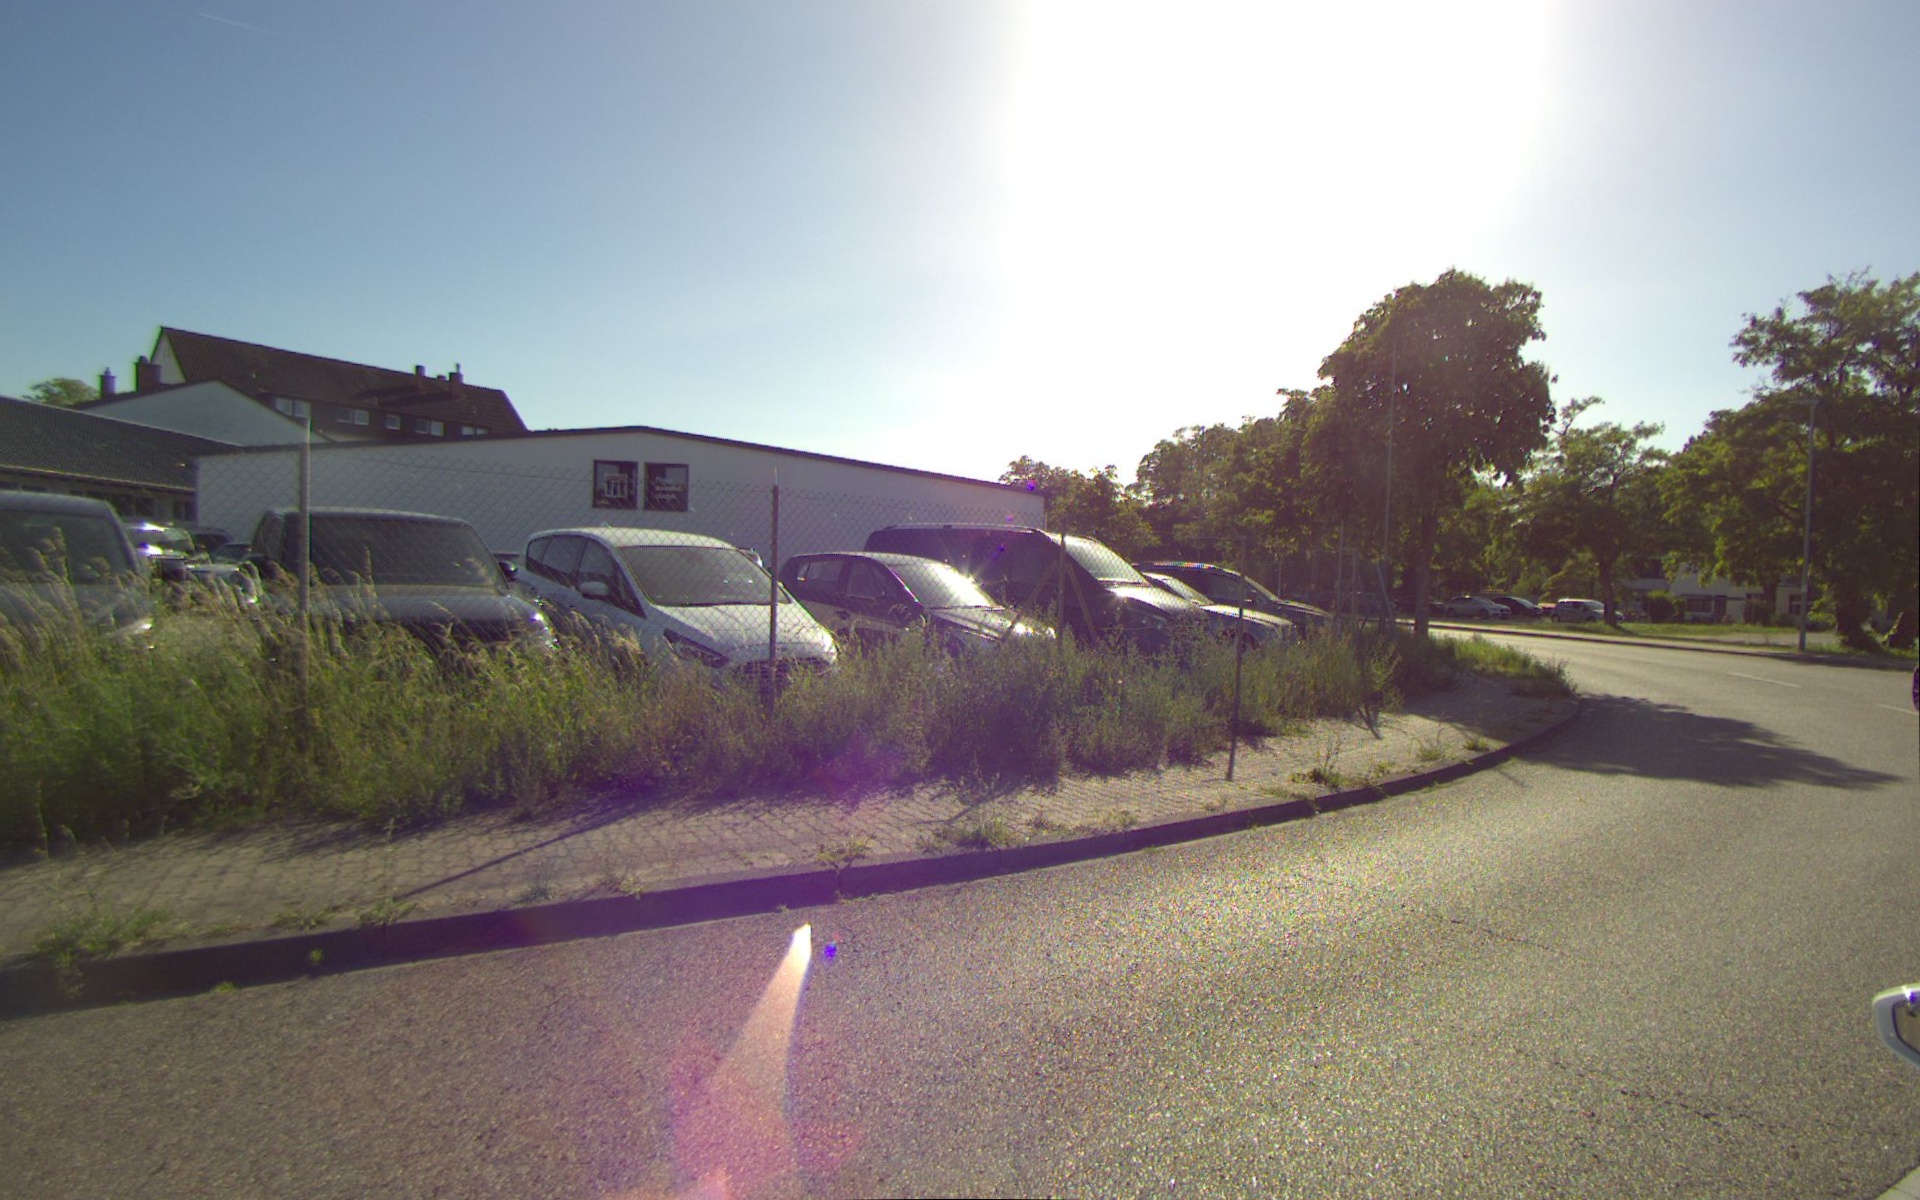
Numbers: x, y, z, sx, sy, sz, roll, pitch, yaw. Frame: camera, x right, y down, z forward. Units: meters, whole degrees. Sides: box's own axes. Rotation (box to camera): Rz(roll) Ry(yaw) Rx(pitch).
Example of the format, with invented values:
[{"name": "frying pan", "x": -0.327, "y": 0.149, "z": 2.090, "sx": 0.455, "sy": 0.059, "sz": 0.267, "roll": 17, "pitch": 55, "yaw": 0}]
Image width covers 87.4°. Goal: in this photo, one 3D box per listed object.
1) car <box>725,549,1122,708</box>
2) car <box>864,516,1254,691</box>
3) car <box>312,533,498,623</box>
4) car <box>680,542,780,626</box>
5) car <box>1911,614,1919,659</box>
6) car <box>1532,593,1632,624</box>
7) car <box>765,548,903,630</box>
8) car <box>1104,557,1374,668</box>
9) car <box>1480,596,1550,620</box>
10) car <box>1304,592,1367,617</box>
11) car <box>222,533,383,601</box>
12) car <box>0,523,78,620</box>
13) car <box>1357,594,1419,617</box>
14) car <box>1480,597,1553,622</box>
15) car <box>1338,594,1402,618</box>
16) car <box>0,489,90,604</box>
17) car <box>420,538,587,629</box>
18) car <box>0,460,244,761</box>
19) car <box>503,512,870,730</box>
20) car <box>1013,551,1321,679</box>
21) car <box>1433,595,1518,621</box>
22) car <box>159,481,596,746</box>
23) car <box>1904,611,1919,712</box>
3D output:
[{"name": "car", "x": -0.524, "y": 0.214, "z": 11.576, "sx": 4.331, "sy": 1.456, "sz": 1.834, "roll": 3, "pitch": 2, "yaw": 35}, {"name": "car", "x": 1.164, "y": -0.060, "z": 13.173, "sx": 4.772, "sy": 1.918, "sz": 1.834, "roll": 3, "pitch": 2, "yaw": 36}, {"name": "car", "x": -11.710, "y": -0.483, "z": 21.560, "sx": 1.805, "sy": 1.671, "sz": 4.400, "roll": 2, "pitch": 1, "yaw": -5}, {"name": "car", "x": -5.309, "y": -0.386, "z": 22.778, "sx": 1.811, "sy": 1.671, "sz": 4.386, "roll": 2, "pitch": 1, "yaw": -18}, {"name": "car", "x": 32.811, "y": 1.293, "z": 30.810, "sx": 1.969, "sy": 1.445, "sz": 4.905, "roll": 2, "pitch": 1, "yaw": -18}, {"name": "car", "x": 34.136, "y": 0.432, "z": 55.325, "sx": 1.963, "sy": 1.504, "sz": 4.919, "roll": 2, "pitch": 1, "yaw": -8}, {"name": "car", "x": -3.026, "y": -0.297, "z": 23.239, "sx": 1.816, "sy": 1.671, "sz": 4.373, "roll": 1, "pitch": 2, "yaw": -26}, {"name": "car", "x": 4.888, "y": 0.173, "z": 17.795, "sx": 4.316, "sy": 1.671, "sz": 1.840, "roll": 3, "pitch": 2, "yaw": 18}, {"name": "car", "x": 41.013, "y": 0.573, "z": 74.378, "sx": 1.963, "sy": 1.504, "sz": 4.919, "roll": 2, "pitch": 1, "yaw": -8}, {"name": "car", "x": 25.941, "y": 0.277, "z": 69.620, "sx": 1.963, "sy": 1.504, "sz": 4.919, "roll": 2, "pitch": 1, "yaw": -8}, {"name": "car", "x": -17.954, "y": -0.893, "z": 27.698, "sx": 1.805, "sy": 1.671, "sz": 4.400, "roll": 2, "pitch": 1, "yaw": -5}, {"name": "car", "x": -16.444, "y": -0.478, "z": 15.632, "sx": 1.805, "sy": 1.583, "sz": 4.400, "roll": 2, "pitch": 1, "yaw": -5}, {"name": "car", "x": 31.608, "y": 0.379, "z": 74.299, "sx": 1.963, "sy": 1.504, "sz": 4.919, "roll": 2, "pitch": 1, "yaw": -8}, {"name": "car", "x": 39.164, "y": 0.620, "z": 70.832, "sx": 1.963, "sy": 1.504, "sz": 4.919, "roll": 2, "pitch": 1, "yaw": -8}, {"name": "car", "x": 28.704, "y": 0.388, "z": 70.478, "sx": 1.963, "sy": 1.504, "sz": 4.919, "roll": 2, "pitch": 1, "yaw": -8}, {"name": "car", "x": -20.138, "y": -1.076, "z": 19.344, "sx": 2.070, "sy": 2.303, "sz": 5.758, "roll": 2, "pitch": 3, "yaw": -4}, {"name": "car", "x": -9.476, "y": -0.366, "z": 21.269, "sx": 1.805, "sy": 1.671, "sz": 4.400, "roll": 2, "pitch": 1, "yaw": -5}, {"name": "car", "x": -6.835, "y": -0.032, "z": 7.139, "sx": 4.337, "sy": 1.671, "sz": 1.831, "roll": 3, "pitch": 2, "yaw": 40}, {"name": "car", "x": -2.912, "y": 0.084, "z": 9.951, "sx": 1.826, "sy": 1.671, "sz": 4.351, "roll": 1, "pitch": 2, "yaw": -40}, {"name": "car", "x": 3.187, "y": 0.159, "z": 15.630, "sx": 4.323, "sy": 1.671, "sz": 1.838, "roll": 3, "pitch": 2, "yaw": 28}, {"name": "car", "x": 33.923, "y": 0.496, "z": 66.247, "sx": 1.971, "sy": 1.504, "sz": 4.901, "roll": 2, "pitch": 1, "yaw": -21}, {"name": "car", "x": -5.063, "y": 0.000, "z": 8.458, "sx": 4.337, "sy": 1.671, "sz": 1.831, "roll": 3, "pitch": 2, "yaw": 40}, {"name": "car", "x": 14.520, "y": 0.945, "z": 13.444, "sx": 1.915, "sy": 1.508, "sz": 4.553, "roll": 1, "pitch": 1, "yaw": 33}]
